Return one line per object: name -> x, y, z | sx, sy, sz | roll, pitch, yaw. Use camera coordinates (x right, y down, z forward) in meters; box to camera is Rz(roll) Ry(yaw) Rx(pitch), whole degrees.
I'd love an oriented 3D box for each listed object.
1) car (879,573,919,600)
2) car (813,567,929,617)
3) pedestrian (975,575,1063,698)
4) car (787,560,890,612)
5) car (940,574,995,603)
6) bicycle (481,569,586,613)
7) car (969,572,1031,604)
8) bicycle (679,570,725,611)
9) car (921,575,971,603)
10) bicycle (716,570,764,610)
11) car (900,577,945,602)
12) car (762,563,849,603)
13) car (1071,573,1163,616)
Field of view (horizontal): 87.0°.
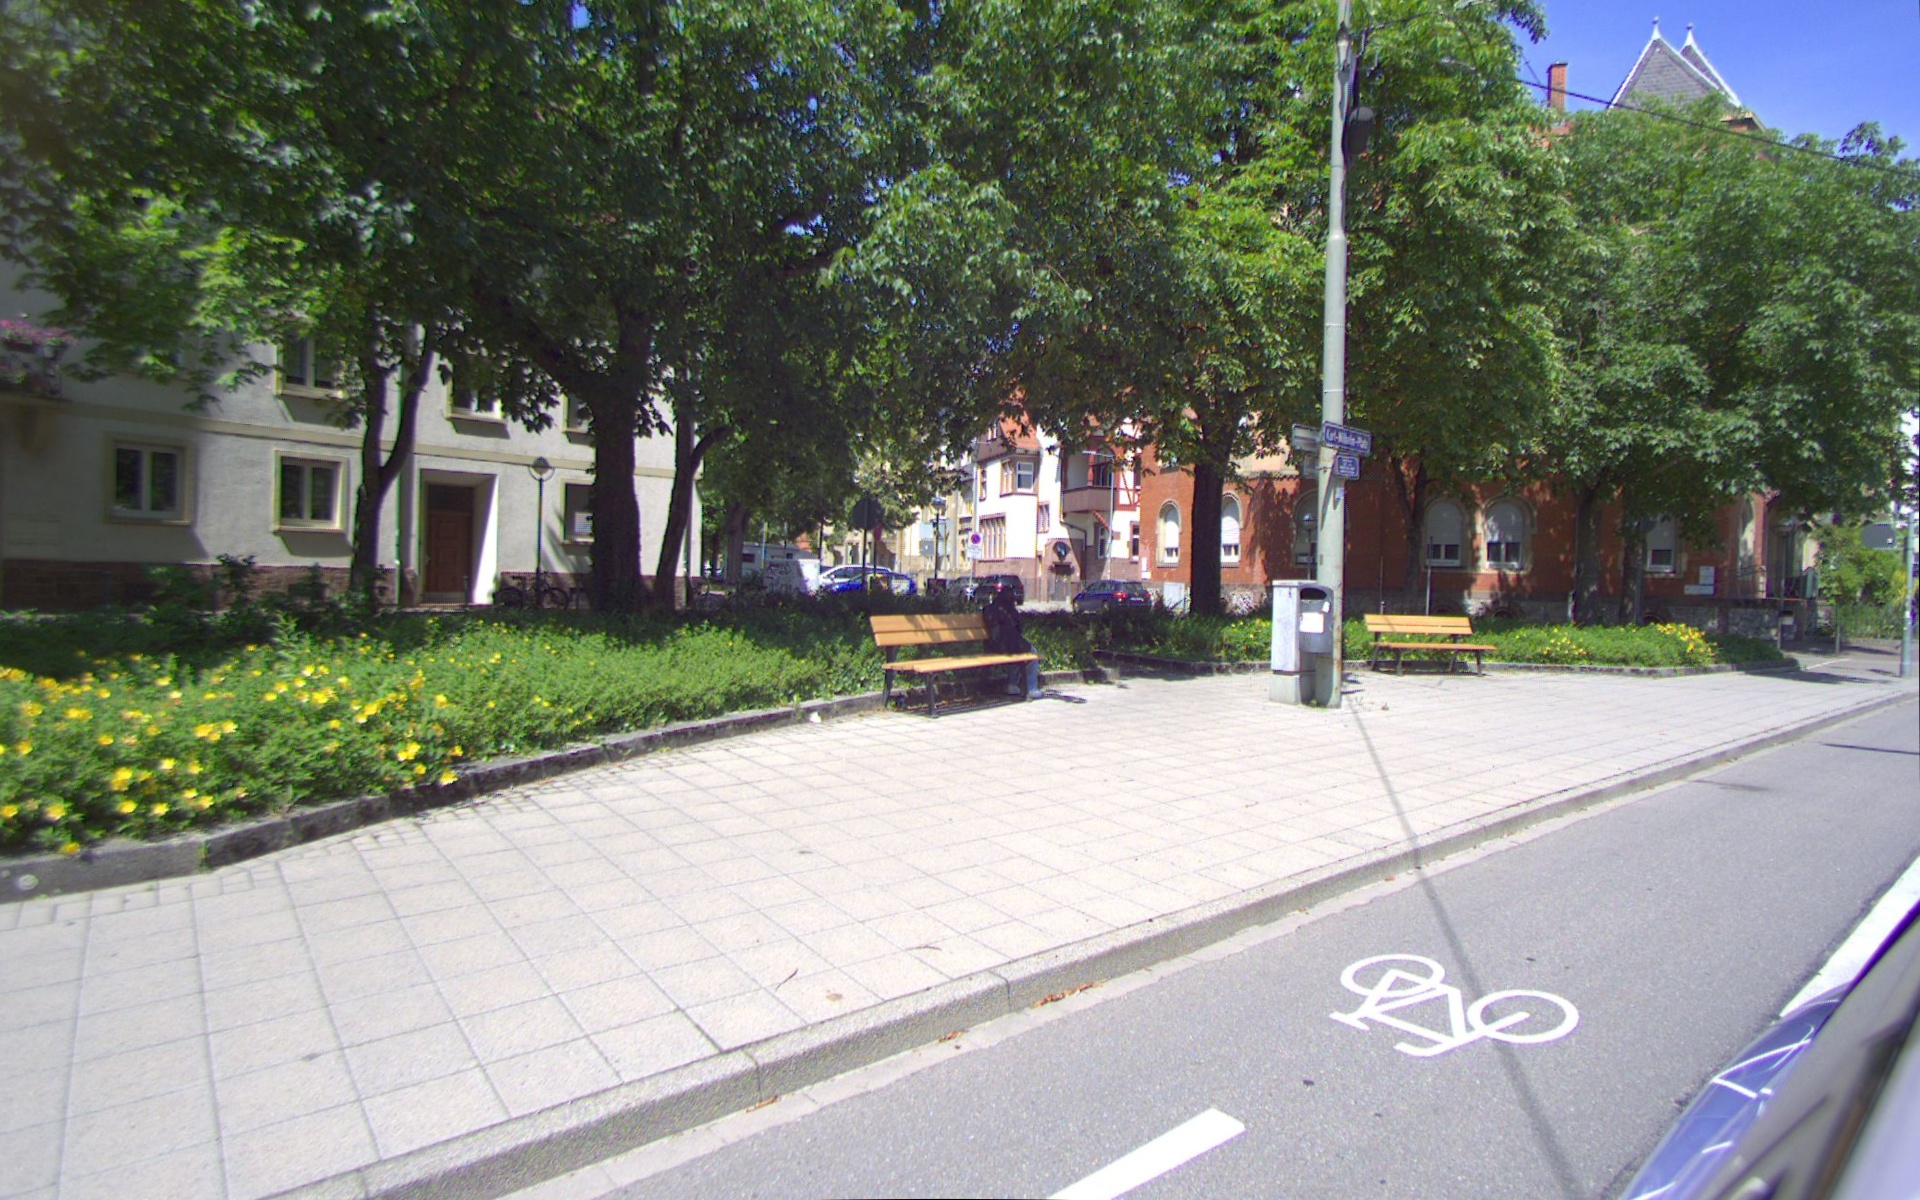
car -> -4.505, -1.006, 74.466 | 1.897, 1.897, 4.318 | 0, 0, -19
car -> -3.547, -0.321, 40.020 | 4.219, 1.903, 1.942 | 0, 0, -18
pedestrian -> 0.595, 0.339, 10.078 | 0.562, 1.156, 0.718 | 3, 2, 33
car -> -5.375, -0.627, 44.832 | 4.219, 2.219, 1.942 | 0, 0, -18
car -> 0.377, -0.653, 58.686 | 1.897, 1.638, 4.318 | 0, 0, -19
bicycle -> -10.255, -0.222, 24.379 | 2.230, 1.024, 0.751 | -1, 0, -41
car -> 2.063, -0.617, 54.079 | 1.897, 1.638, 4.318 | 0, 0, -19
bicycle -> -6.778, -0.259, 26.479 | 0.736, 1.024, 2.273 | 0, 0, -26
car -> -0.921, -0.690, 63.256 | 1.897, 1.638, 4.318 | 0, 0, -19
bicycle -> -5.871, -0.267, 26.908 | 0.736, 1.024, 2.273 | 0, 0, -26
car -> -2.569, -0.726, 67.953 | 1.897, 1.638, 4.318 | 0, 0, -19
car -> -8.087, -0.883, 52.942 | 4.219, 2.029, 1.942 | 0, 0, -18
car -> 6.272, -0.229, 41.029 | 1.897, 1.638, 4.318 | 0, 0, -19
